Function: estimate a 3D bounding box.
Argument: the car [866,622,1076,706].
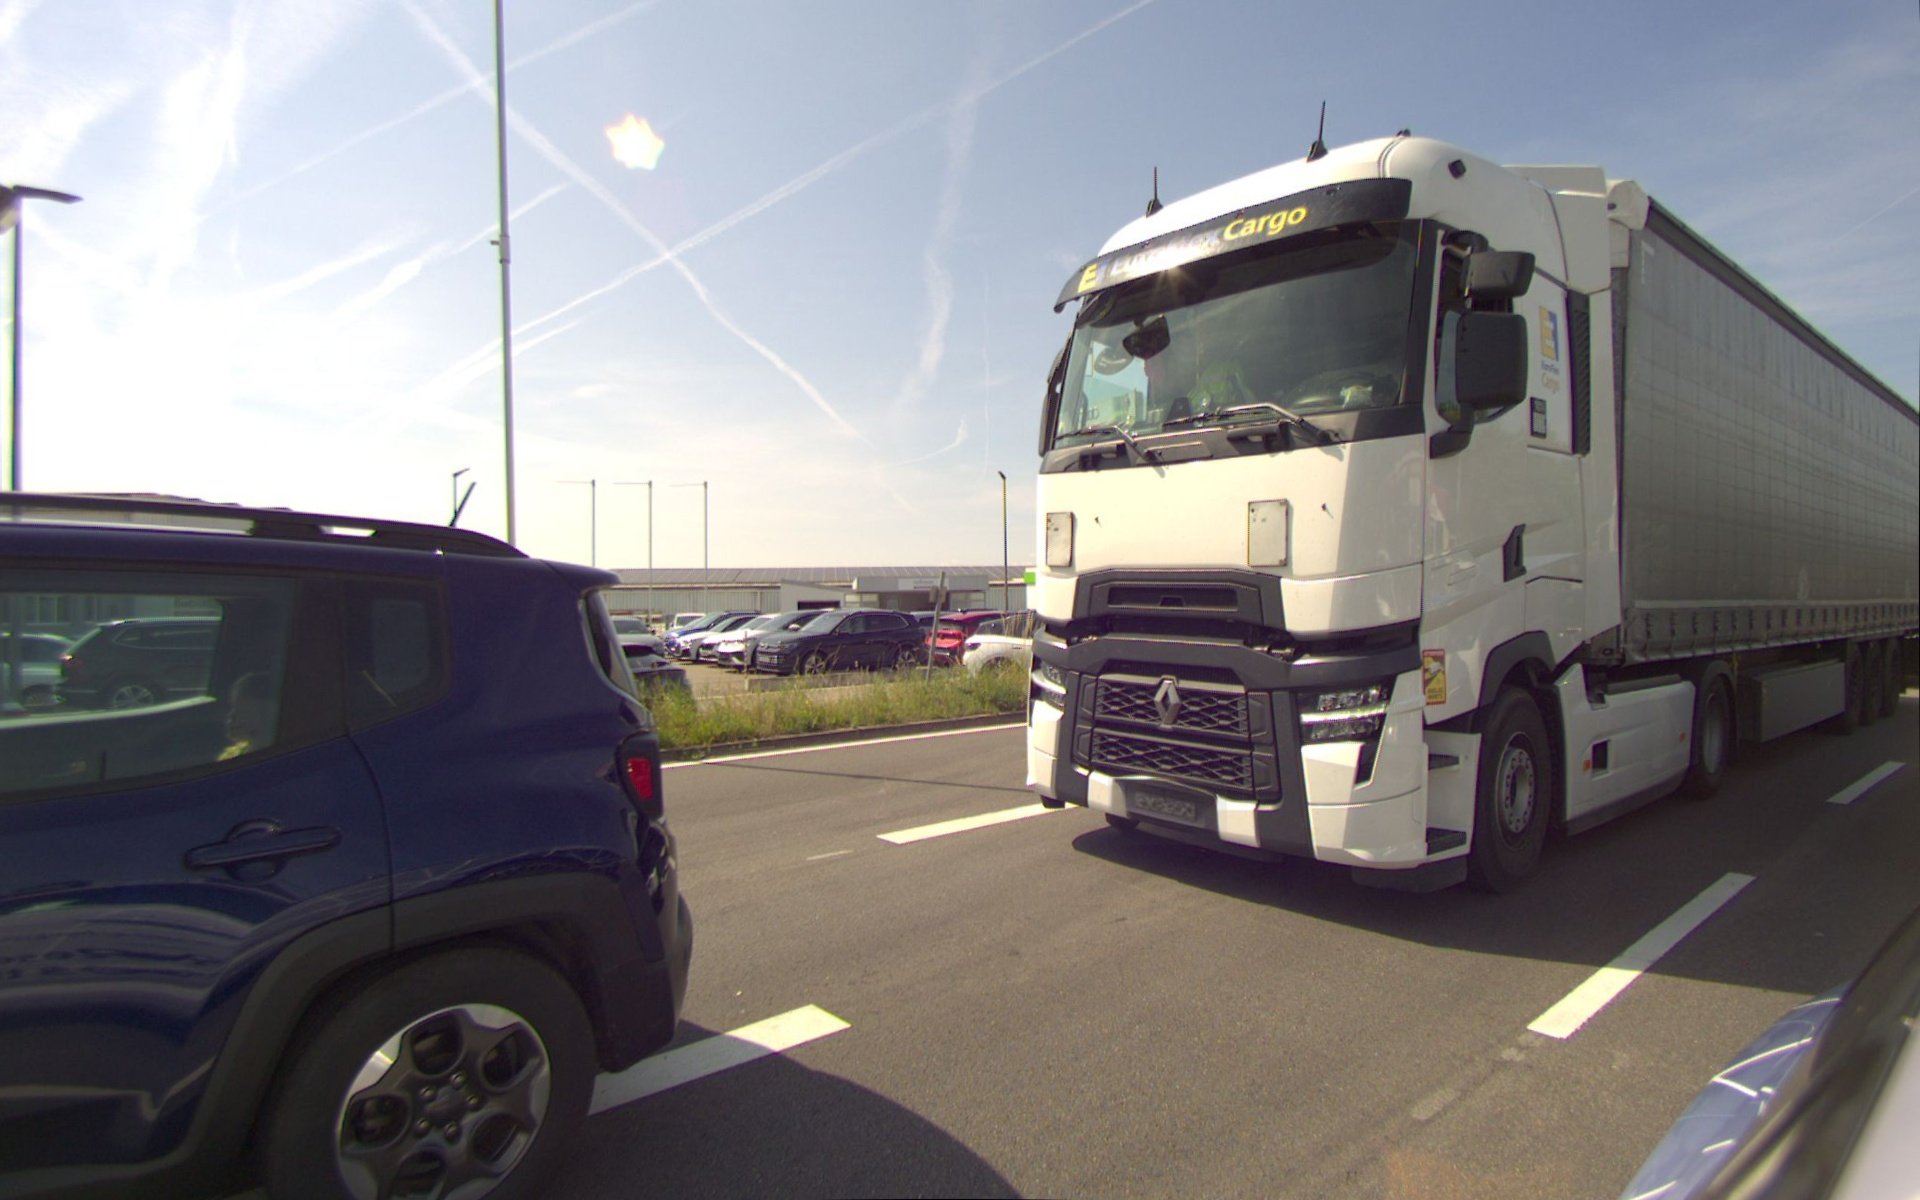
[{"bbox_3d":[0.219,1.142,19.172,3.623,1.420,1.725,0,0,23],"label":"car"}]

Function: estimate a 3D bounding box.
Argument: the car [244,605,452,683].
[{"bbox_3d":[-15.125,1.047,25.292,4.143,1.812,1.987,0,-1,-20],"label":"car"}]

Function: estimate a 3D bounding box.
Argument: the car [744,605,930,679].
[{"bbox_3d":[-3.032,0.985,25.314,4.202,1.678,1.999,0,0,-37],"label":"car"}]

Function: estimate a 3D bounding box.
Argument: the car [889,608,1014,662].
[{"bbox_3d":[-0.226,1.015,30.410,3.531,1.426,1.562,-1,2,-39],"label":"car"}]

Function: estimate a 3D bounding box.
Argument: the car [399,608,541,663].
[{"bbox_3d":[-16.892,1.191,35.109,4.143,1.777,1.911,0,-1,-15],"label":"car"}]

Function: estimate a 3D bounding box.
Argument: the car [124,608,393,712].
[{"bbox_3d":[-13.639,1.070,19.832,4.155,1.812,1.982,0,-1,-38],"label":"car"}]

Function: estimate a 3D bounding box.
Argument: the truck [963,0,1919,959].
[{"bbox_3d":[7.247,-0.763,10.426,16.410,4.320,2.896,0,0,-40],"label":"truck"}]

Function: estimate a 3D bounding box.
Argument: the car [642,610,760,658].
[{"bbox_3d":[-9.482,1.204,37.167,3.896,1.638,1.708,0,0,-37],"label":"car"}]

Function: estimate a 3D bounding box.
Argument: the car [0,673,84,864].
[{"bbox_3d":[-9.387,1.338,8.145,3.983,1.420,1.729,0,0,18],"label":"car"}]

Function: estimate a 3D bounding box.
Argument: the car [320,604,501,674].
[{"bbox_3d":[-15.075,1.033,28.034,4.143,1.812,1.987,0,-1,-20],"label":"car"}]

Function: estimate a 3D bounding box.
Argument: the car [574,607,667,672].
[{"bbox_3d":[-9.489,1.024,28.098,1.959,1.638,4.006,0,0,-26],"label":"car"}]

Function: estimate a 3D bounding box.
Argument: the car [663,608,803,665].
[{"bbox_3d":[-7.034,1.075,31.500,3.896,1.638,1.708,0,0,-37],"label":"car"}]

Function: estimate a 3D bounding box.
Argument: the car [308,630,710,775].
[{"bbox_3d":[-5.274,1.100,11.924,4.289,1.420,1.729,0,0,18],"label":"car"}]

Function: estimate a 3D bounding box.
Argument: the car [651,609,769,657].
[{"bbox_3d":[-8.354,1.076,33.950,3.531,1.426,1.562,-1,2,-39],"label":"car"}]

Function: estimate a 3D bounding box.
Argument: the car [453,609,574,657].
[{"bbox_3d":[-17.528,1.263,39.929,4.143,1.777,1.911,0,-1,-15],"label":"car"}]

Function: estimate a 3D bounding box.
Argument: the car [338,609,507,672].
[{"bbox_3d":[-15.986,1.165,30.343,4.143,1.777,1.911,0,-1,-15],"label":"car"}]

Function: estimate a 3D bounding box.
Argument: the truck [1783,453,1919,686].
[{"bbox_3d":[19.984,-0.531,20.503,10.939,3.859,2.886,0,0,-39],"label":"truck"}]

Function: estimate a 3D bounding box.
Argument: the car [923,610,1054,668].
[{"bbox_3d":[0.830,1.048,28.480,3.531,1.426,1.562,-1,2,-39],"label":"car"}]

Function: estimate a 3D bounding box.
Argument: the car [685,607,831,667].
[{"bbox_3d":[-5.914,1.047,29.849,3.896,1.638,1.708,0,0,-37],"label":"car"}]

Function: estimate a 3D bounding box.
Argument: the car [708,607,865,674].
[{"bbox_3d":[-4.638,1.026,27.209,3.756,1.638,1.857,0,0,-37],"label":"car"}]

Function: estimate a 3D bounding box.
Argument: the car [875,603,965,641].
[{"bbox_3d":[-1.841,0.984,46.867,3.896,1.638,1.708,0,0,-37],"label":"car"}]

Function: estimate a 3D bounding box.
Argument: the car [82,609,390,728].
[{"bbox_3d":[-12.465,1.075,17.636,4.155,1.812,1.982,0,-1,-38],"label":"car"}]

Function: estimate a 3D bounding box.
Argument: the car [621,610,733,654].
[{"bbox_3d":[-11.030,1.211,39.560,3.896,1.638,1.708,0,0,-37],"label":"car"}]

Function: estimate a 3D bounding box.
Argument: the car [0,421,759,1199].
[{"bbox_3d":[-2.597,0.541,2.028,3.930,1.706,1.822,0,1,-41],"label":"car"}]

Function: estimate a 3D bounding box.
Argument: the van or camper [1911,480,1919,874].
[{"bbox_3d":[7.196,0.440,5.699,5.195,2.039,1.998,0,-1,-39],"label":"van or camper"}]

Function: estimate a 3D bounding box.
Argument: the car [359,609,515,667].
[{"bbox_3d":[-16.677,1.180,32.486,4.143,1.777,1.911,0,-1,-15],"label":"car"}]

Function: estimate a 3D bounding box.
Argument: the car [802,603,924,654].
[{"bbox_3d":[-3.332,0.940,34.950,3.894,1.638,1.709,0,0,-36],"label":"car"}]

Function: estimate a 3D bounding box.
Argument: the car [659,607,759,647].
[{"bbox_3d":[-10.872,1.143,43.988,3.896,1.638,1.708,0,0,-37],"label":"car"}]

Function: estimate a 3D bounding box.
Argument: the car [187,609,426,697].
[{"bbox_3d":[-14.459,1.112,22.703,4.143,1.812,1.987,0,-1,-20],"label":"car"}]

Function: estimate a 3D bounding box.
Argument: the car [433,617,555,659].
[{"bbox_3d":[-17.152,1.387,37.448,3.916,1.438,1.713,0,-1,-17],"label":"car"}]
